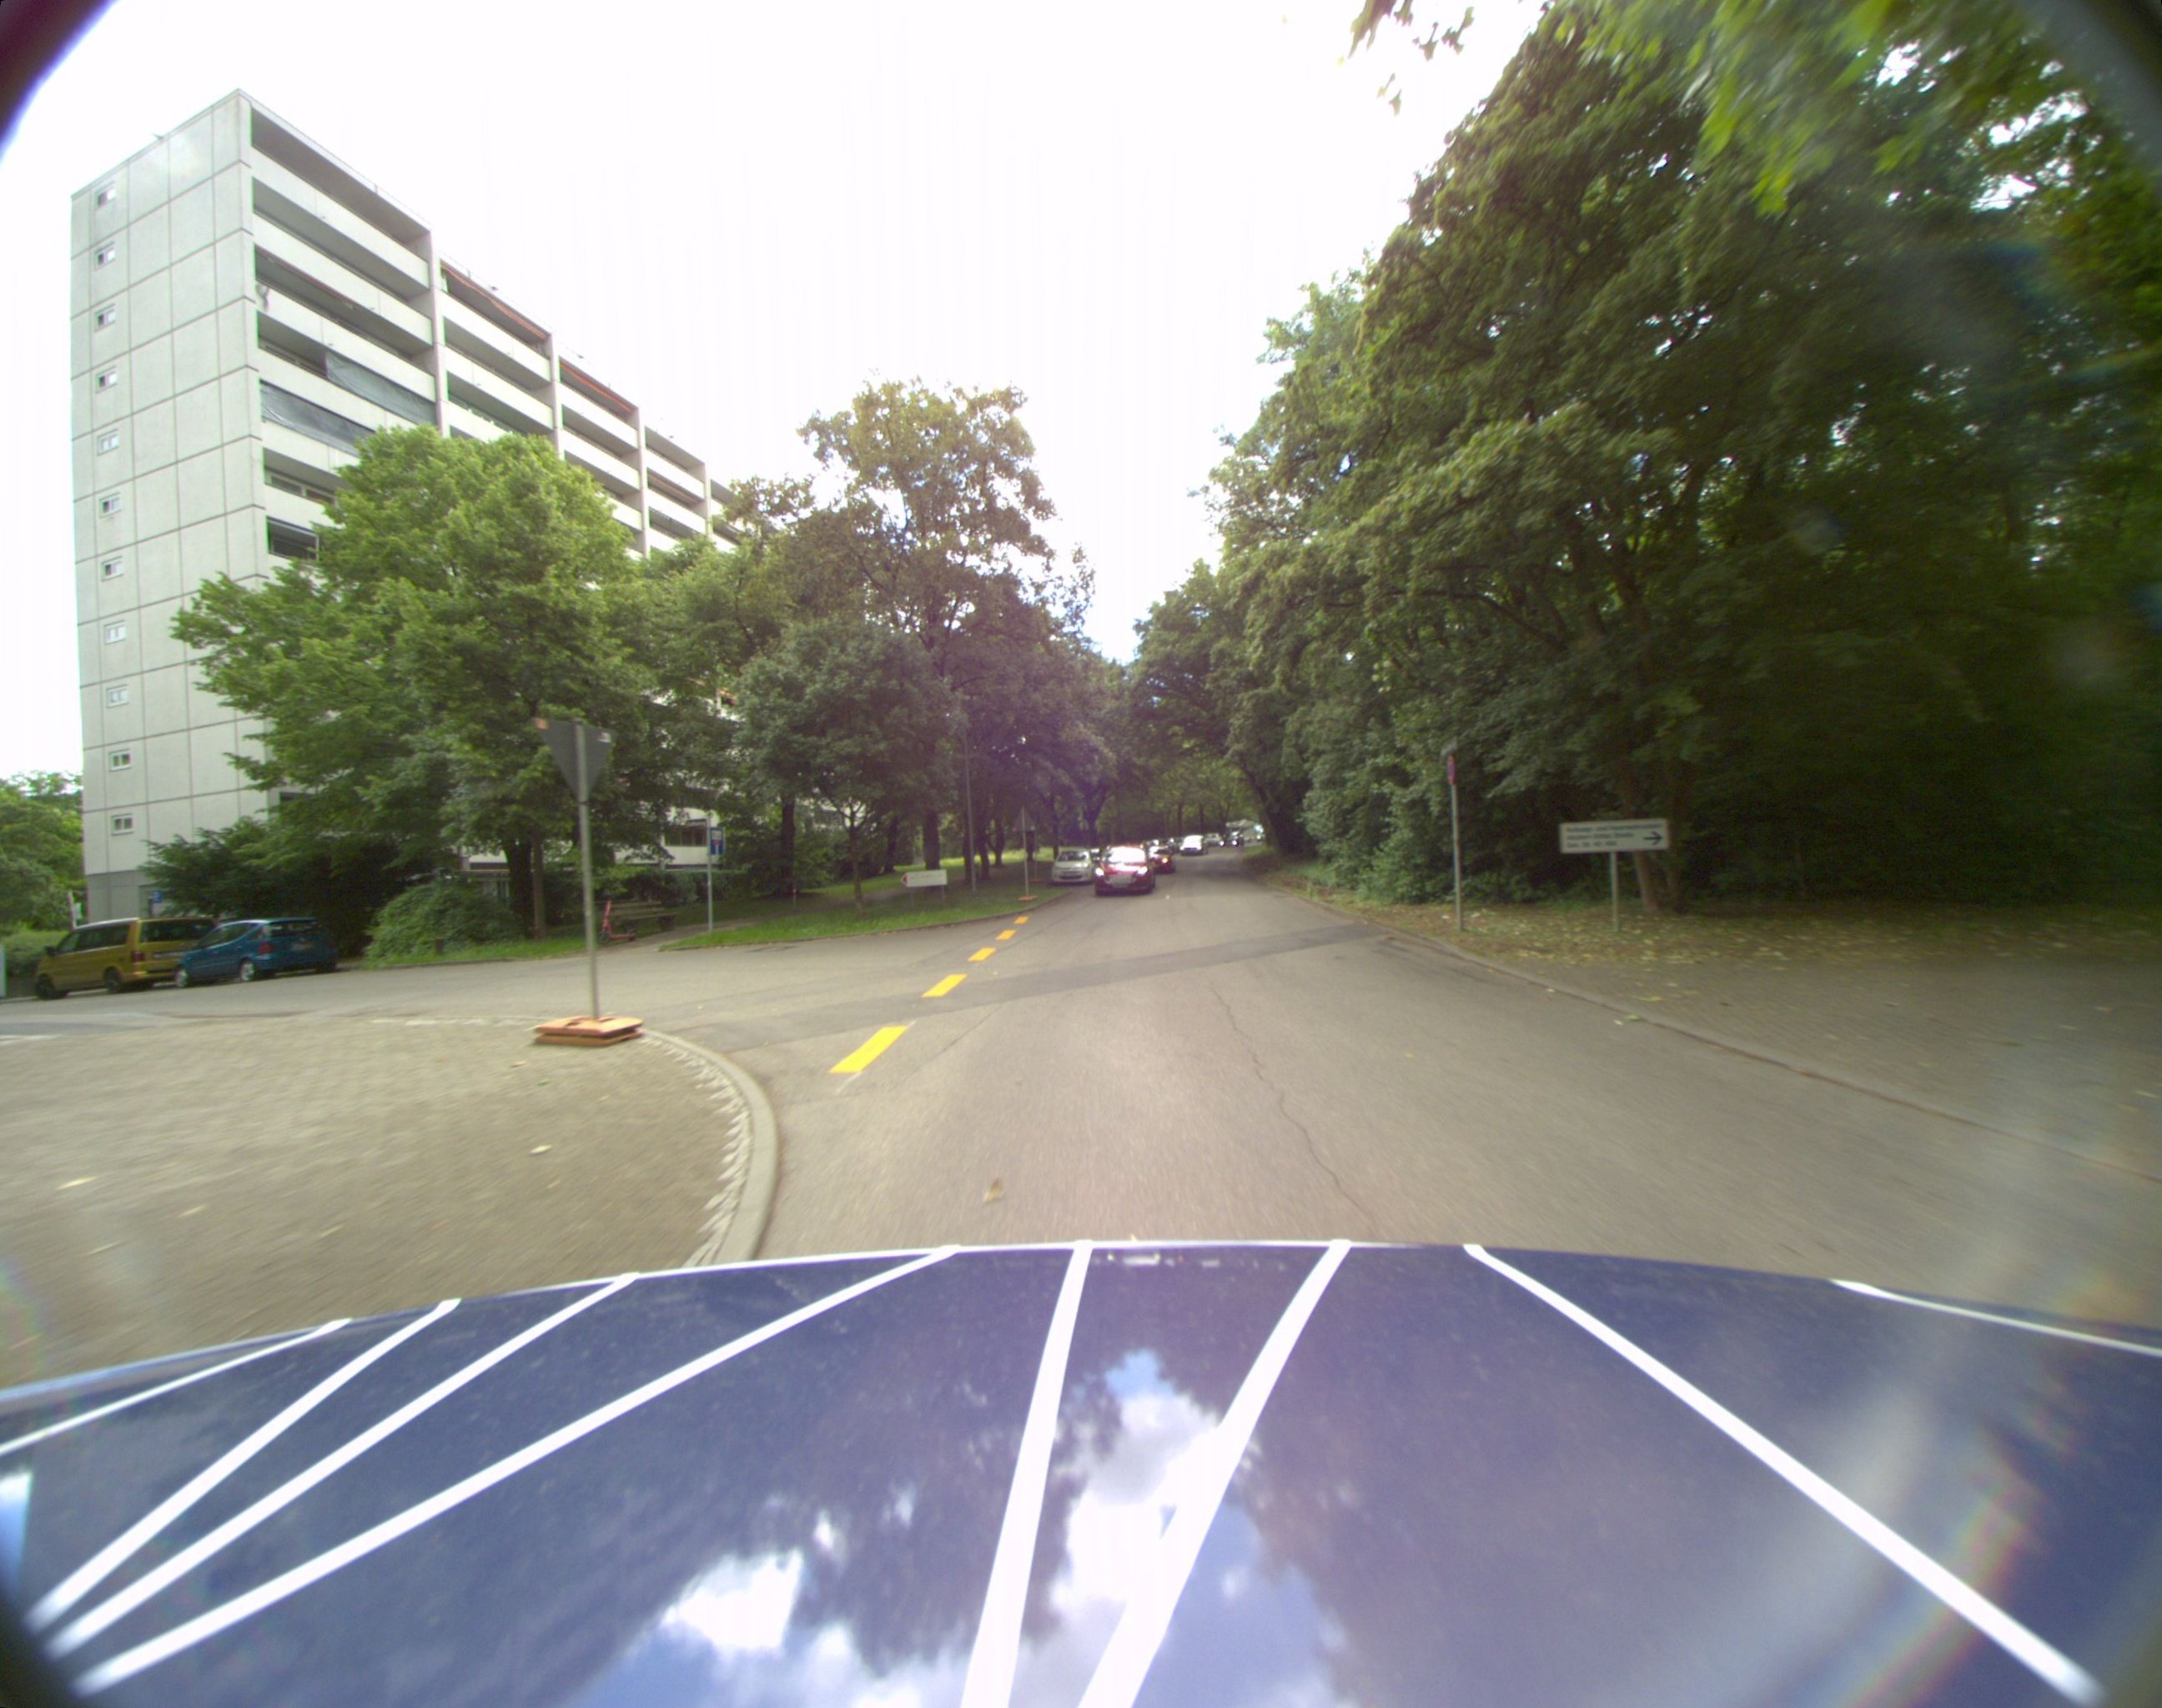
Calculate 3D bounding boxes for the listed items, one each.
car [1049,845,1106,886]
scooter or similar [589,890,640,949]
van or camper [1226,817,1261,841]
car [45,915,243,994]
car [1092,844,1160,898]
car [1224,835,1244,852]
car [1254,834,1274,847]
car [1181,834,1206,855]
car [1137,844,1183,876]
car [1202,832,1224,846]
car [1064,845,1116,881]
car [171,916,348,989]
[{"bbox_3d":[-0.082,0.453,32.618,1.777,1.514,3.782,-3,1,9],"label":"car"},{"bbox_3d":[-11.188,1.551,18.249,0.283,1.279,1.109,-3,1,10],"label":"scooter or similar"},{"bbox_3d":[21.762,-3.382,101.368,2.426,2.963,7.404,-3,1,29],"label":"van or camper"},{"bbox_3d":[-25.822,2.764,20.966,4.402,1.838,1.834,-4,1,17],"label":"car"},{"bbox_3d":[1.677,0.516,26.598,2.002,1.599,4.678,-3,1,7],"label":"car"},{"bbox_3d":[16.454,-1.151,81.764,1.766,1.559,4.049,-3,1,15],"label":"car"},{"bbox_3d":[23.684,-1.795,98.394,1.765,1.559,4.051,-3,1,23],"label":"car"},{"bbox_3d":[9.313,-0.832,62.811,1.653,1.559,4.048,-3,1,13],"label":"car"},{"bbox_3d":[4.103,0.272,40.148,1.958,1.464,4.676,-3,1,2],"label":"car"},{"bbox_3d":[15.618,-1.764,89.666,1.690,1.474,4.111,-3,1,22],"label":"car"},{"bbox_3d":[0.500,0.375,37.310,1.777,1.514,4.185,-3,1,10],"label":"car"},{"bbox_3d":[-21.215,2.530,19.645,3.521,1.561,1.834,-4,1,21],"label":"car"}]
